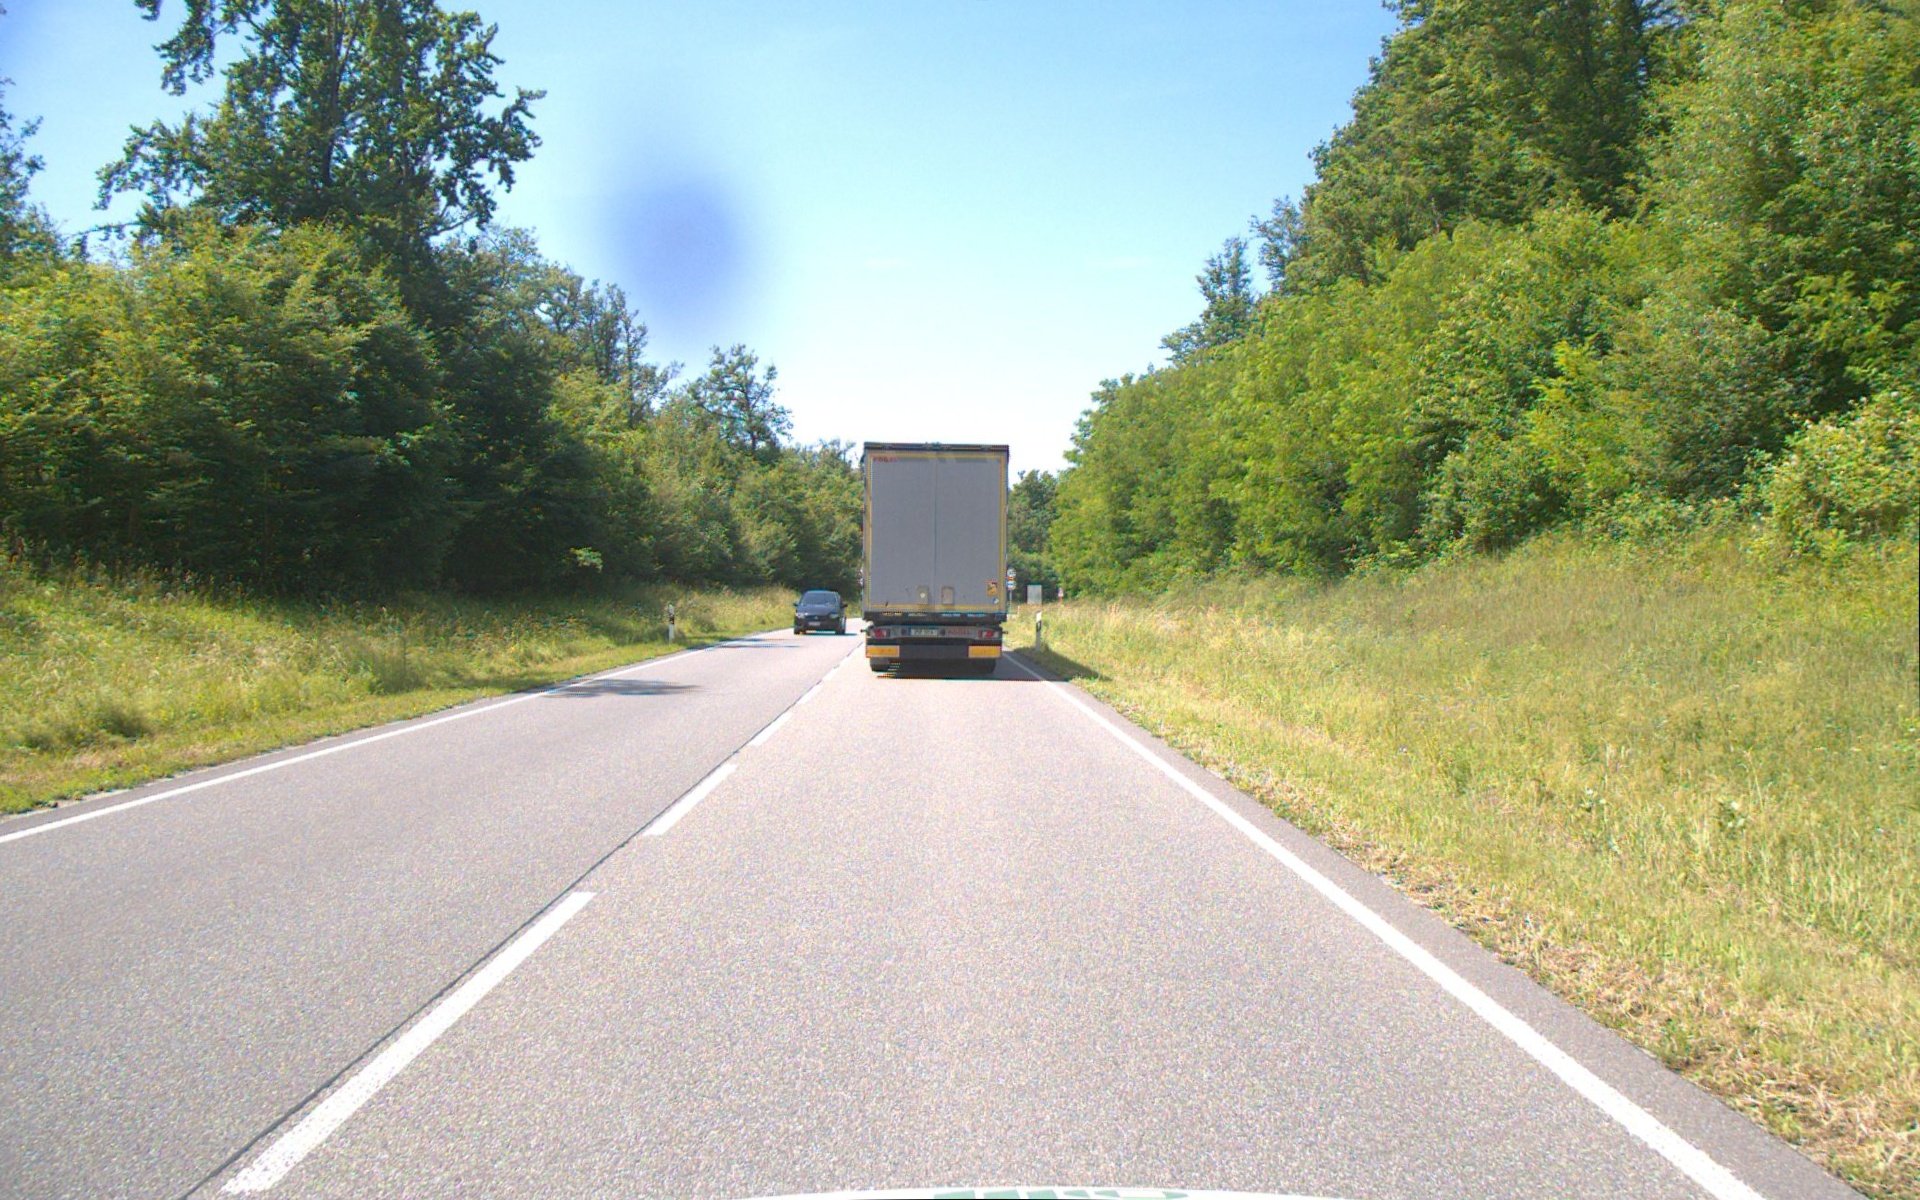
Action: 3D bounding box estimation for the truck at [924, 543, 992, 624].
[{"bbox_3d":[-0.024,-0.933,99.410,3.715,4.449,14.920,1,0,1],"label":"truck"}]

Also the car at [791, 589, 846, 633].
[{"bbox_3d":[-4.999,0.368,58.819,1.627,1.521,3.805,1,0,0],"label":"car"}]

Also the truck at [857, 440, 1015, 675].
[{"bbox_3d":[-0.552,-0.754,34.418,2.705,4.016,12.194,0,0,-1],"label":"truck"}]
